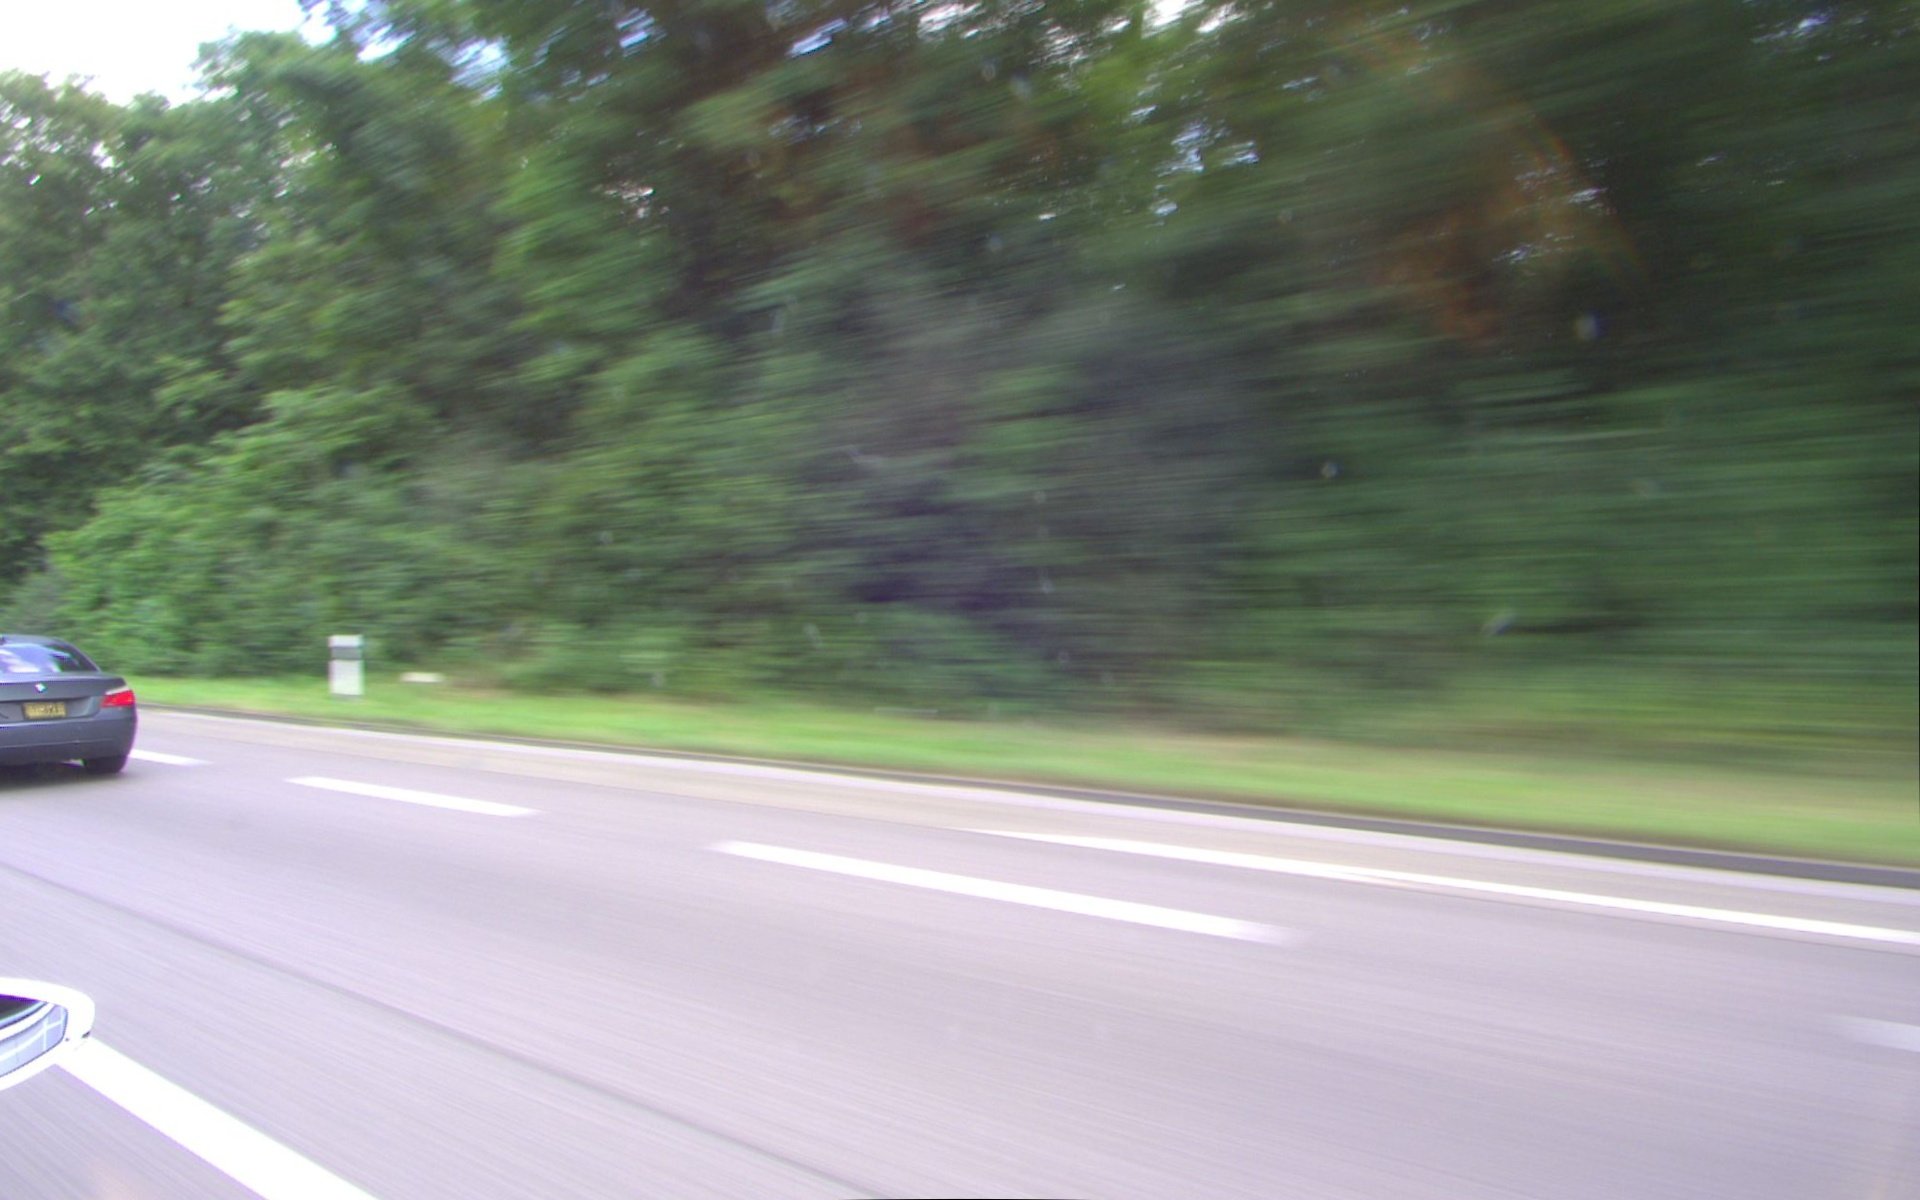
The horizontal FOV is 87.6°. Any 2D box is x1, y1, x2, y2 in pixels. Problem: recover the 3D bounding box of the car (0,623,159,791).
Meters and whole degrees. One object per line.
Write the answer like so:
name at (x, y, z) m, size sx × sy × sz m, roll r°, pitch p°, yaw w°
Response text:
car at (-10.445, 0.994, 10.456) m, size 4.810 × 1.494 × 1.771 m, roll -1°, pitch -2°, yaw 32°
